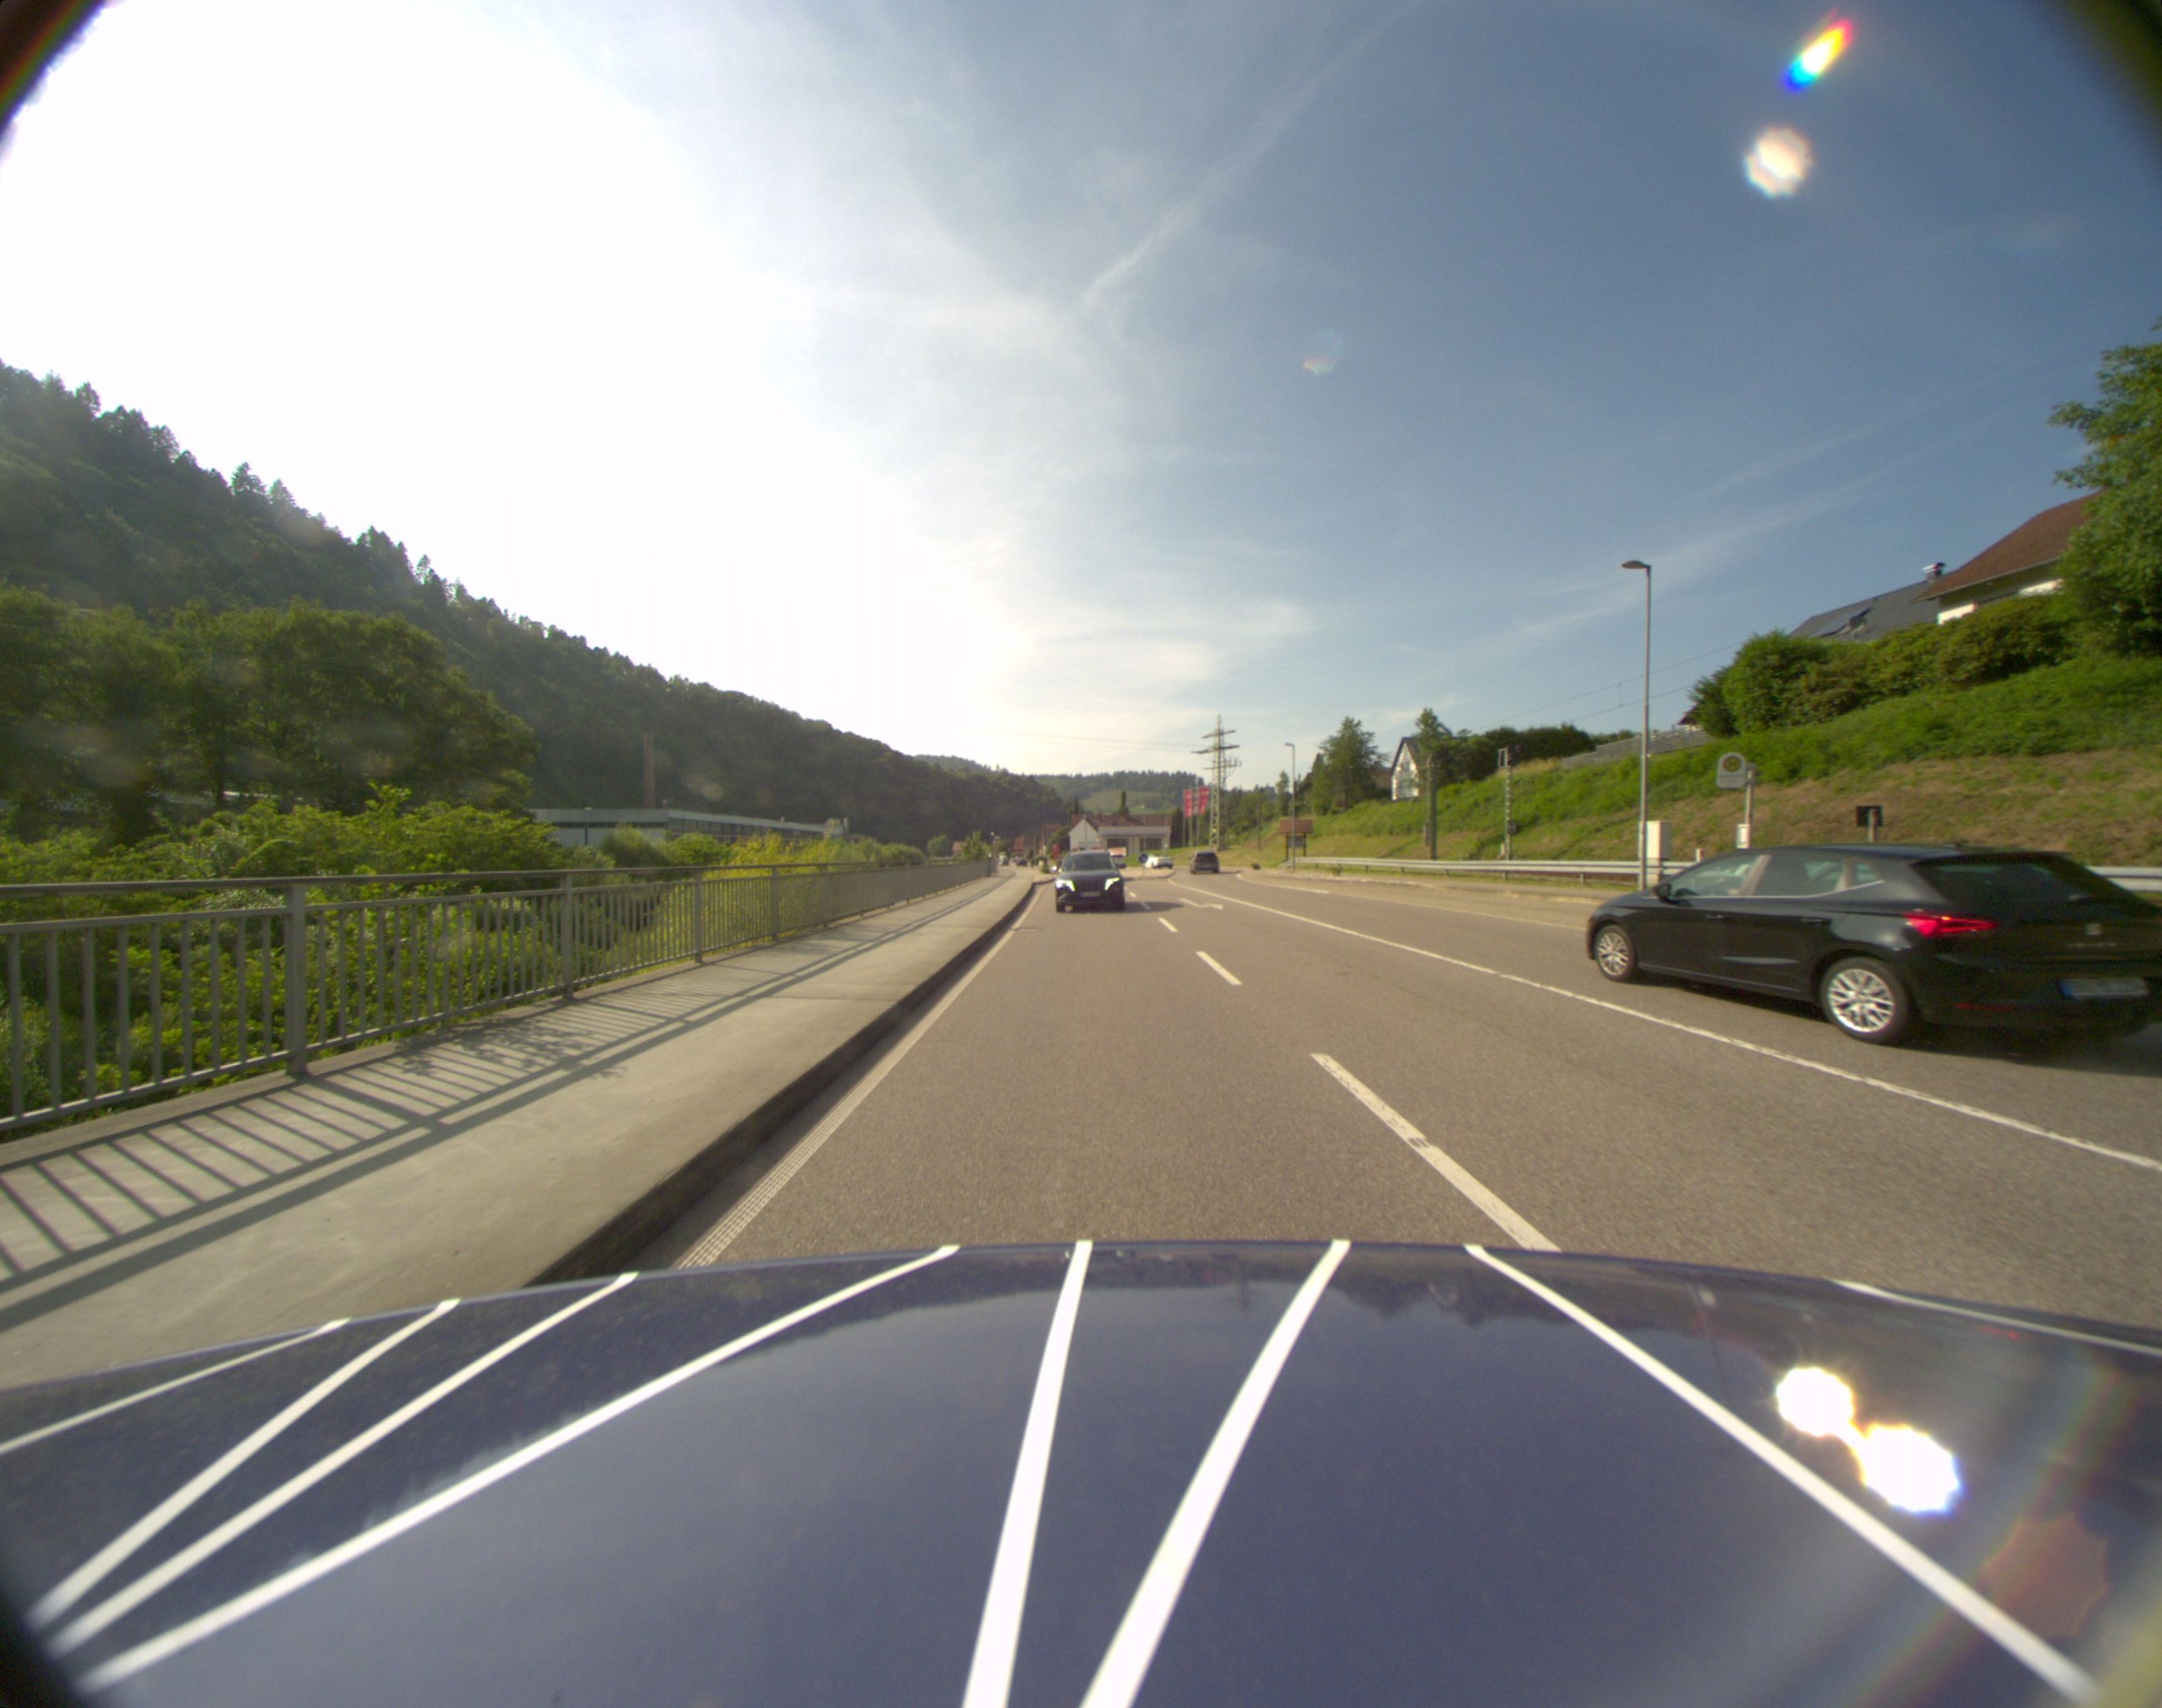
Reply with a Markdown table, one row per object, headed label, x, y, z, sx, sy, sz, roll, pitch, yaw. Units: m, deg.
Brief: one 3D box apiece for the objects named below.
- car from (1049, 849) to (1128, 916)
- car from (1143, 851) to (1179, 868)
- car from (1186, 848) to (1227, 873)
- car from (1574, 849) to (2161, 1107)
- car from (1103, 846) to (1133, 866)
| label | x | y | z | sx | sy | sz | roll | pitch | yaw |
| --- | --- | --- | --- | --- | --- | --- | --- | --- | --- |
| car | 0.276 | 0.747 | 22.558 | 1.998 | 1.661 | 5.511 | -2 | 0 | 1 |
| car | 7.342 | 0.501 | 69.998 | 2.001 | 1.434 | 3.995 | -3 | 1 | -14 |
| car | 8.323 | 0.393 | 50.832 | 1.999 | 1.521 | 3.999 | -2 | 1 | -1 |
| car | 6.355 | 0.724 | 6.501 | 1.691 | 1.477 | 3.999 | -2 | 1 | 0 |
| car | 3.968 | 0.222 | 81.937 | 2.001 | 2.002 | 3.994 | -3 | 1 | -15 |
